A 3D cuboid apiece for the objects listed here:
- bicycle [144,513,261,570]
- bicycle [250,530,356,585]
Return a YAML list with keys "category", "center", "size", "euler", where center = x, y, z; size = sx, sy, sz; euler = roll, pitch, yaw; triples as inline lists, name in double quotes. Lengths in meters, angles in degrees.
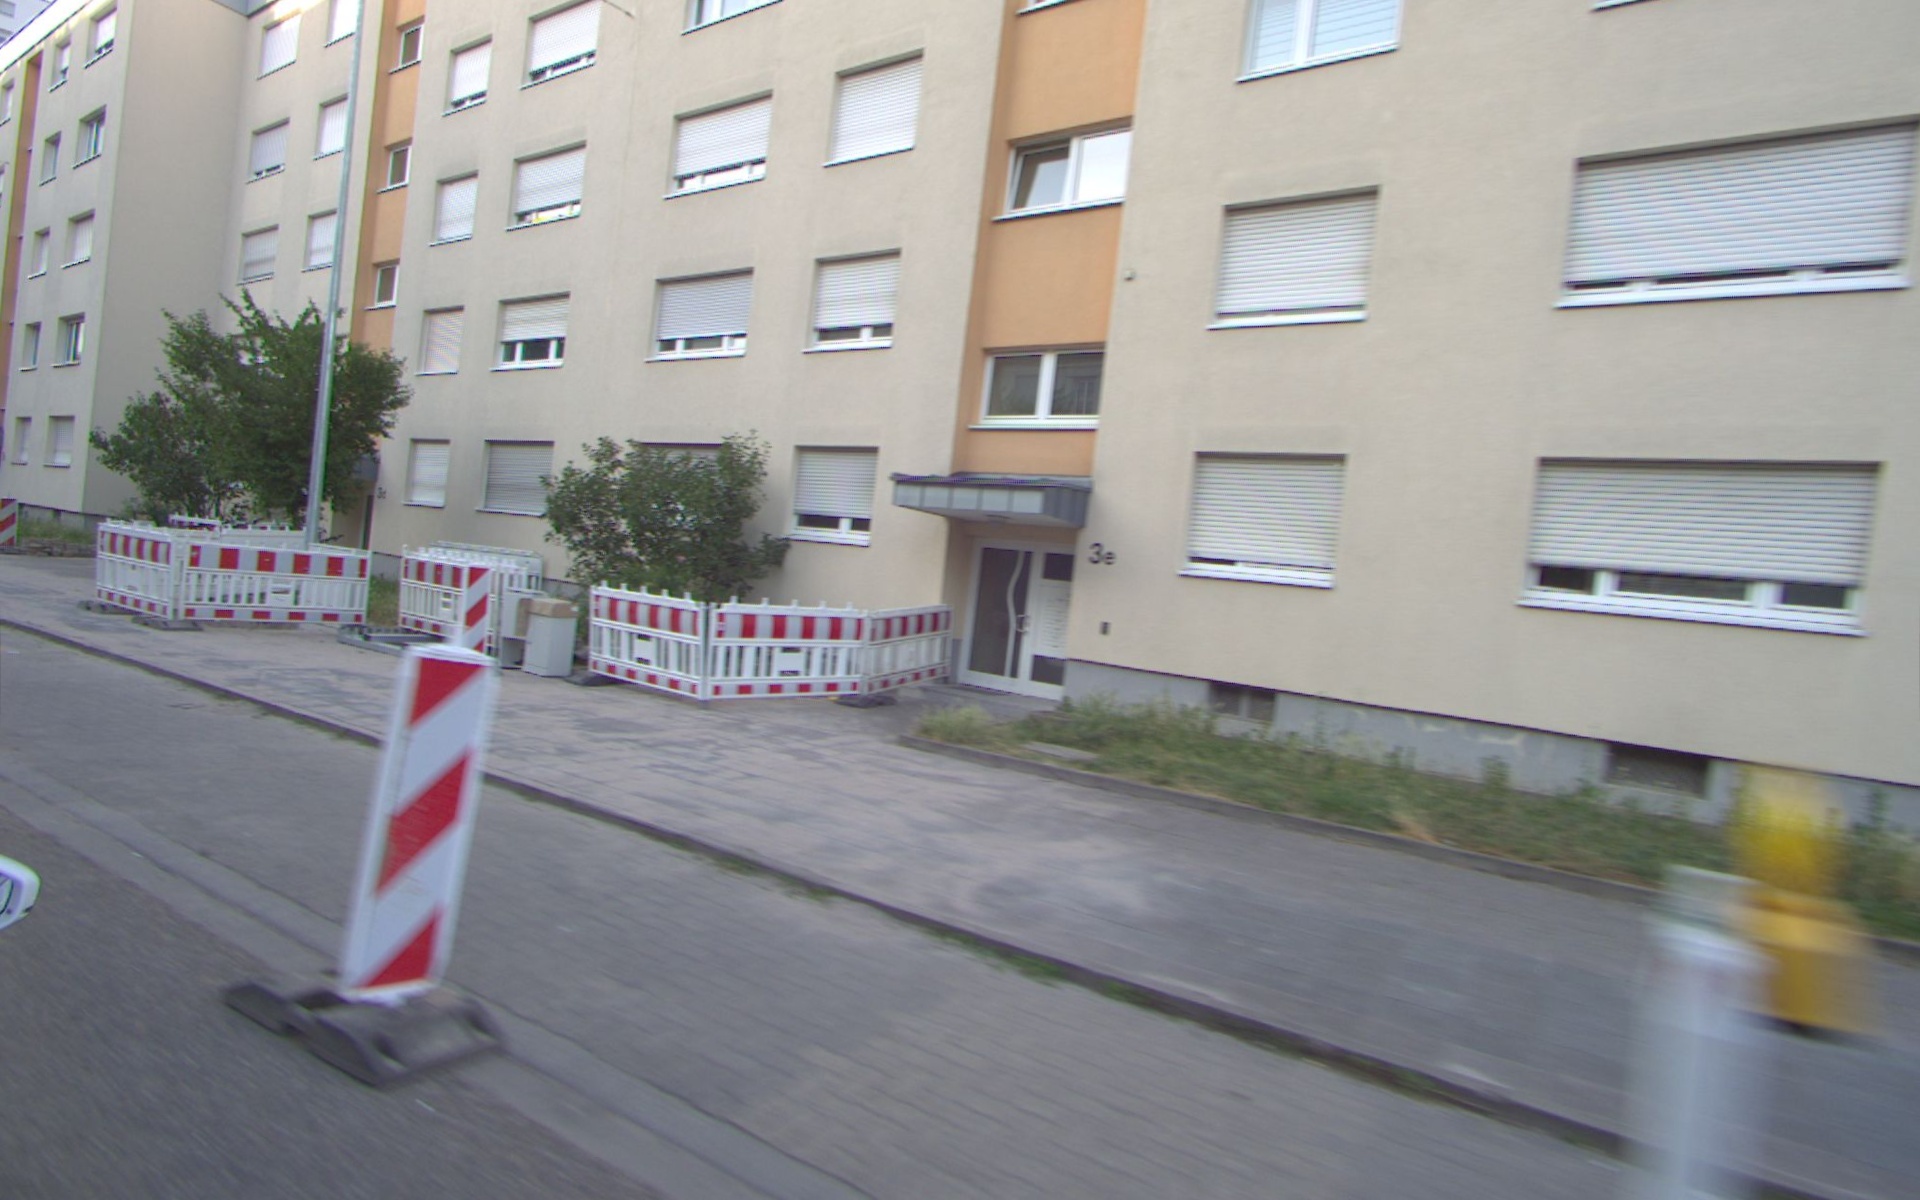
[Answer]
- category: "bicycle"
  center: [-14.610, -1.120, 19.439]
  size: [0.550, 1.001, 1.747]
  euler: [7, 5, 40]
- category: "bicycle"
  center: [-11.891, -0.769, 18.232]
  size: [1.584, 0.877, 0.557]
  euler: [4, 4, 3]
